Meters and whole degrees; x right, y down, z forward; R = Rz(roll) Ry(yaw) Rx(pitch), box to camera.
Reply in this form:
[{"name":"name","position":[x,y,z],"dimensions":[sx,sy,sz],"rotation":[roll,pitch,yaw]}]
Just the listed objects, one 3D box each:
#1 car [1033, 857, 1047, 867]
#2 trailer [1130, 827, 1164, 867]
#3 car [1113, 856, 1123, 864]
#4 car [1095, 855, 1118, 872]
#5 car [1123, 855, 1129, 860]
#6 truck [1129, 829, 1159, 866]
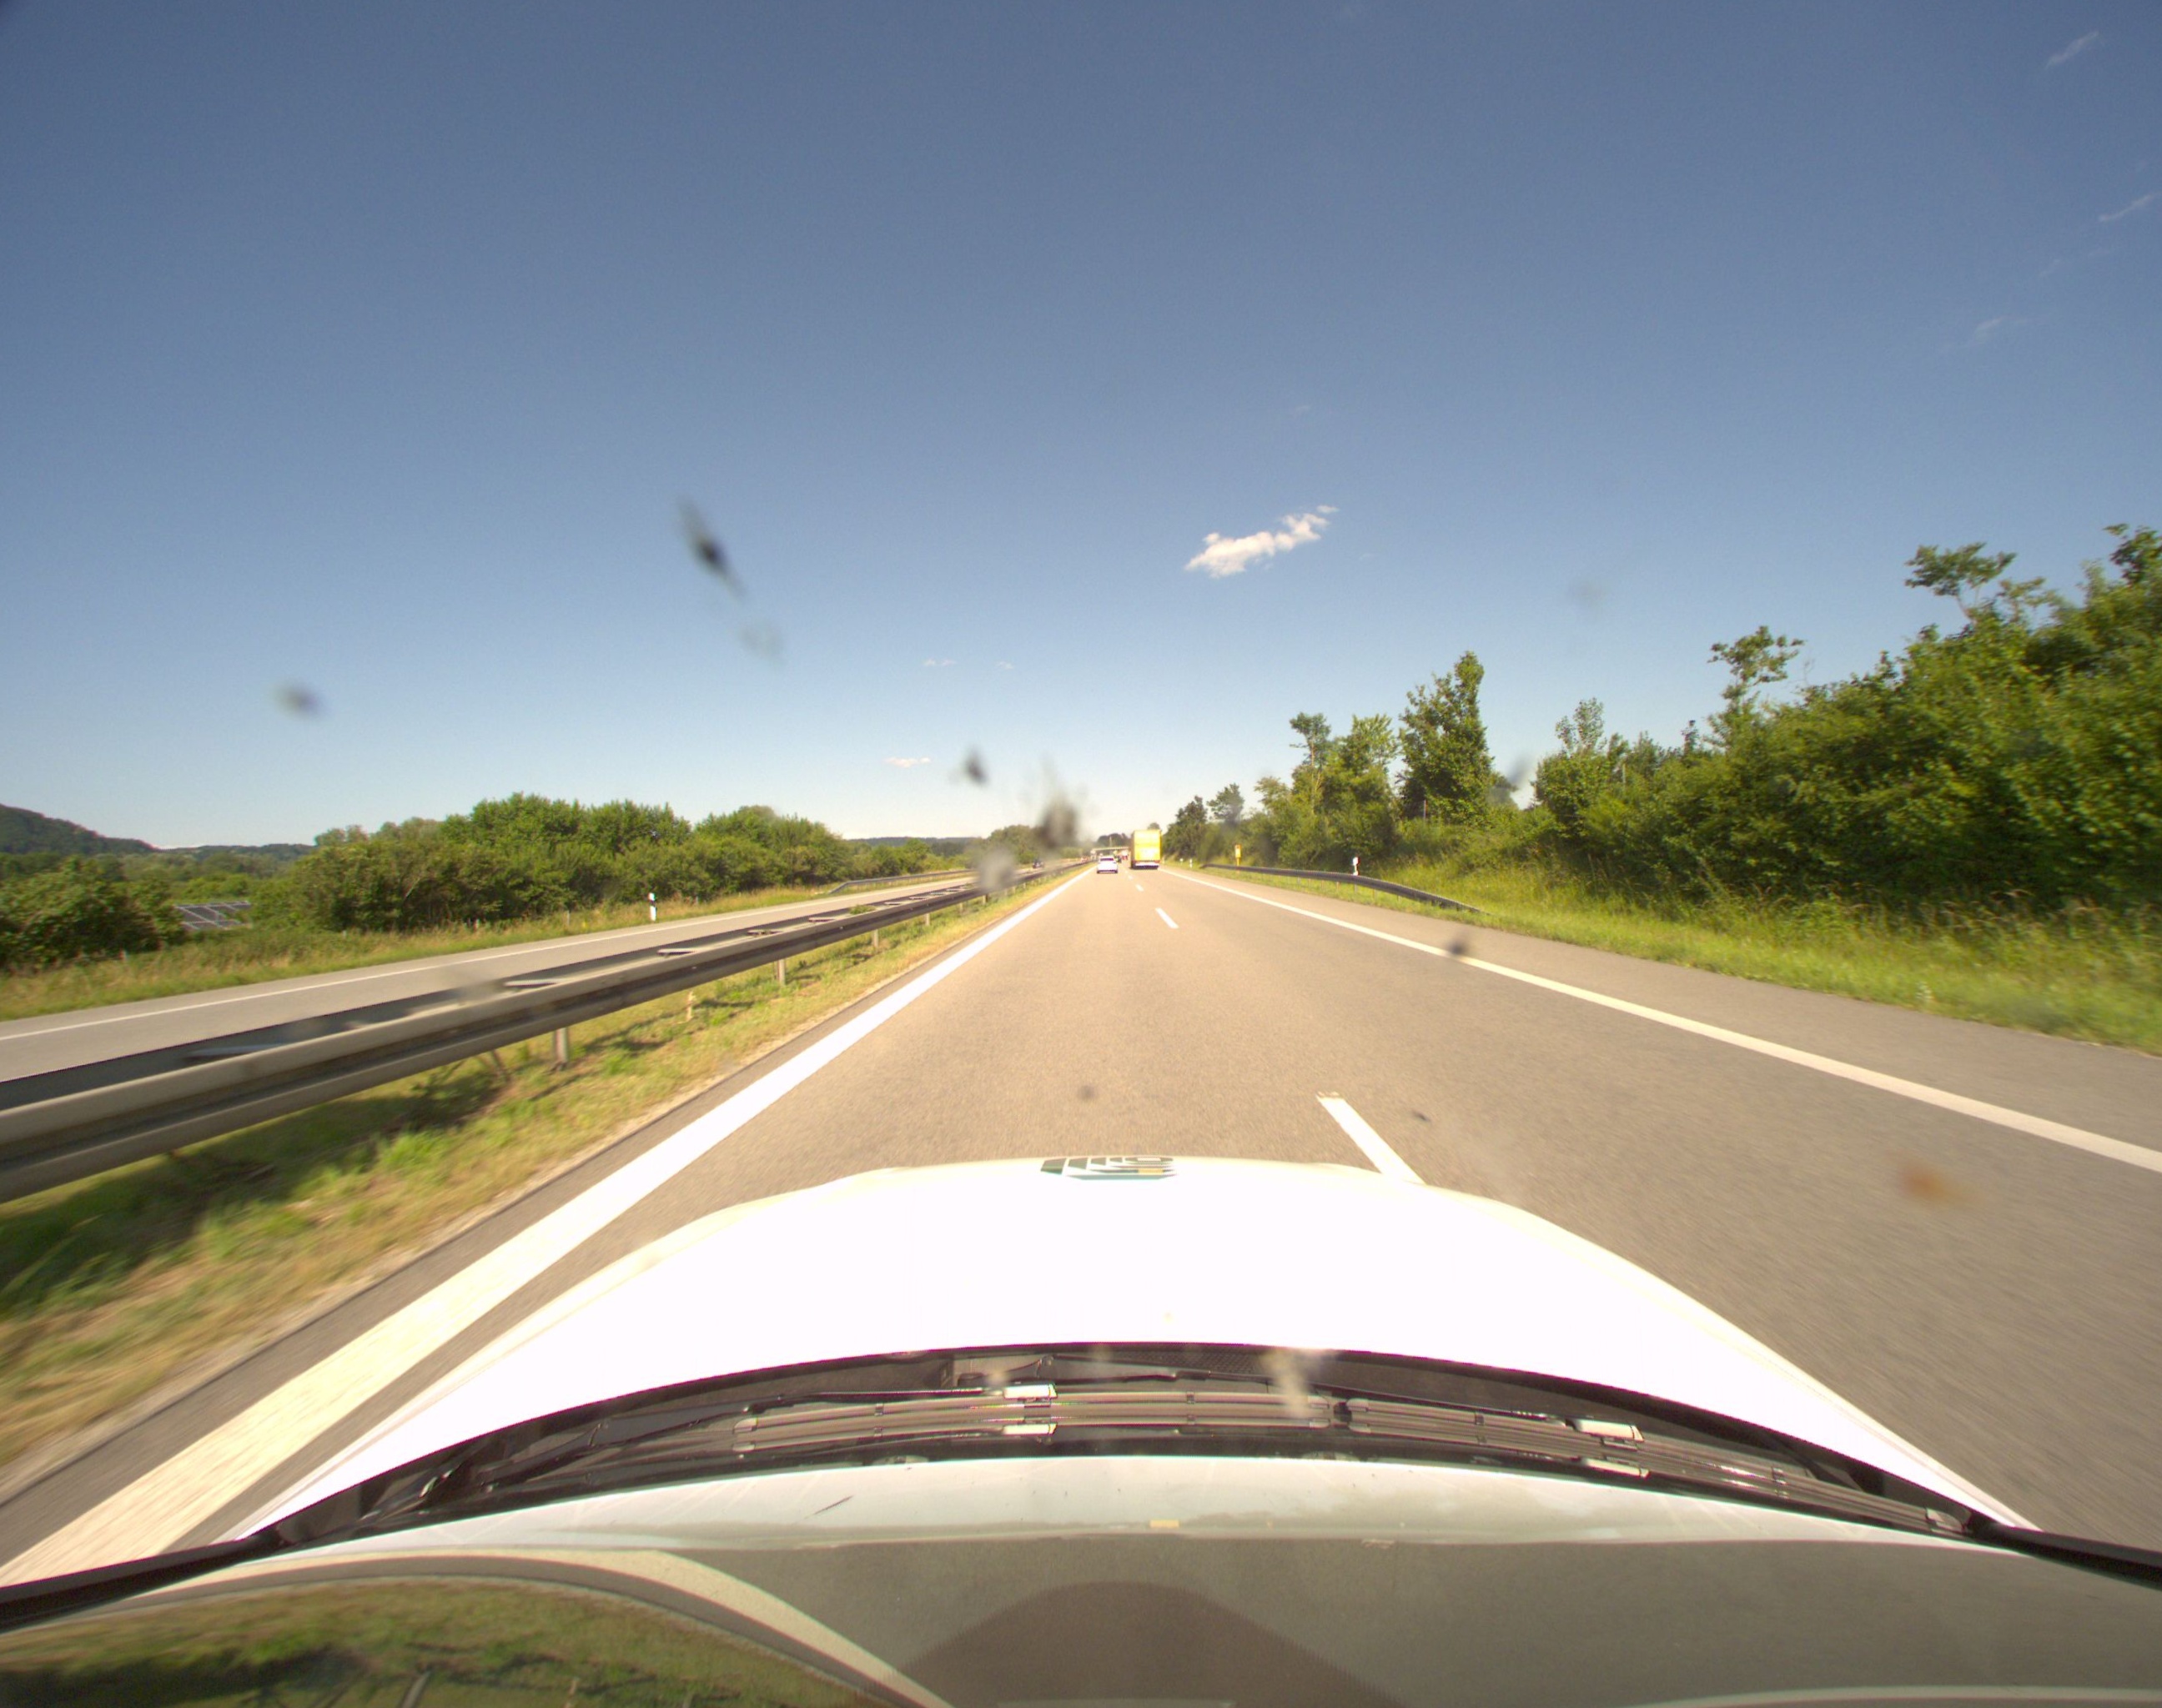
[{"name":"car","position":[-6.617,1.273,131.398],"dimensions":[1.823,1.571,4.658],"rotation":[-3,-1,2]},{"name":"trailer","position":[7.057,-0.656,88.706],"dimensions":[3.172,4.059,13.194],"rotation":[0,0,3]},{"name":"car","position":[6.954,1.142,154.308],"dimensions":[1.835,1.520,4.003],"rotation":[0,0,3]},{"name":"car","position":[2.173,0.811,69.181],"dimensions":[1.835,1.415,4.003],"rotation":[0,0,3]},{"name":"car","position":[14.372,1.031,258.590],"dimensions":[1.895,1.683,4.733],"rotation":[1,0,2]},{"name":"truck","position":[7.289,-0.688,95.131],"dimensions":[3.157,4.114,6.390],"rotation":[0,0,1]}]
